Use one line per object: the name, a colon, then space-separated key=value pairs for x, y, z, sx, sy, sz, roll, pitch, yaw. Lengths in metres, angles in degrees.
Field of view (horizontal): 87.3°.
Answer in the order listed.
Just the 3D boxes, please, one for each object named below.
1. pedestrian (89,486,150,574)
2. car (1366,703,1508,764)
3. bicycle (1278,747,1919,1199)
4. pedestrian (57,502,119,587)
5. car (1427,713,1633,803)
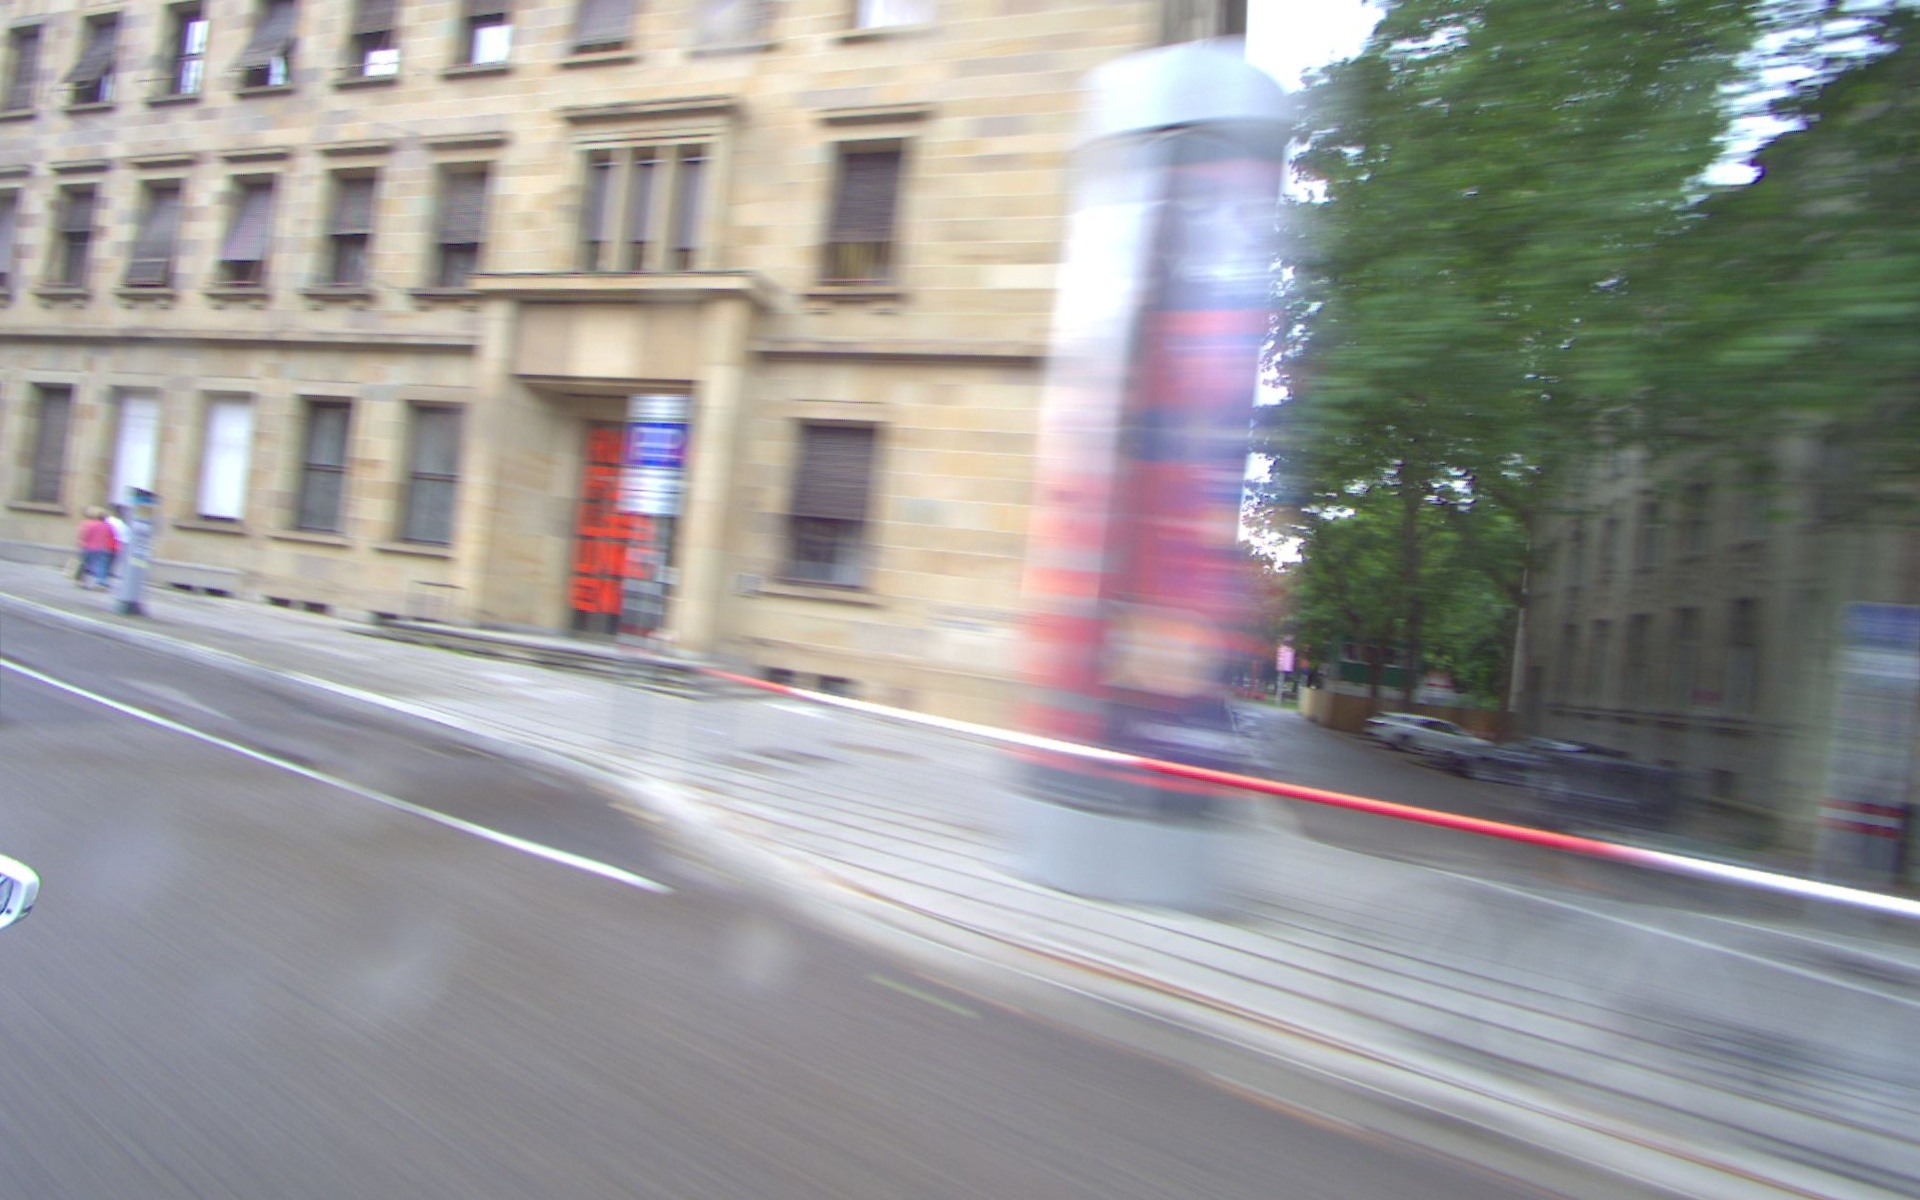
pedestrian: x=-16.517 y=-1.376 z=19.765 sx=0.662 sy=1.621 sz=0.526 roll=7 pitch=-1 yaw=25
car: x=18.676 y=5.205 z=39.610 sx=4.590 sy=1.481 sz=1.889 roll=8 pitch=1 yaw=12
bicycle: x=2.172 y=1.183 z=3.469 sx=1.894 sy=1.024 sz=0.490 roll=7 pitch=-1 yaw=28
pedestrian: x=-16.564 y=-1.054 z=19.112 sx=0.662 sy=1.509 sz=0.526 roll=7 pitch=-1 yaw=25
car: x=15.598 y=4.307 z=27.778 sx=4.456 sy=1.481 sz=1.889 roll=8 pitch=1 yaw=15
